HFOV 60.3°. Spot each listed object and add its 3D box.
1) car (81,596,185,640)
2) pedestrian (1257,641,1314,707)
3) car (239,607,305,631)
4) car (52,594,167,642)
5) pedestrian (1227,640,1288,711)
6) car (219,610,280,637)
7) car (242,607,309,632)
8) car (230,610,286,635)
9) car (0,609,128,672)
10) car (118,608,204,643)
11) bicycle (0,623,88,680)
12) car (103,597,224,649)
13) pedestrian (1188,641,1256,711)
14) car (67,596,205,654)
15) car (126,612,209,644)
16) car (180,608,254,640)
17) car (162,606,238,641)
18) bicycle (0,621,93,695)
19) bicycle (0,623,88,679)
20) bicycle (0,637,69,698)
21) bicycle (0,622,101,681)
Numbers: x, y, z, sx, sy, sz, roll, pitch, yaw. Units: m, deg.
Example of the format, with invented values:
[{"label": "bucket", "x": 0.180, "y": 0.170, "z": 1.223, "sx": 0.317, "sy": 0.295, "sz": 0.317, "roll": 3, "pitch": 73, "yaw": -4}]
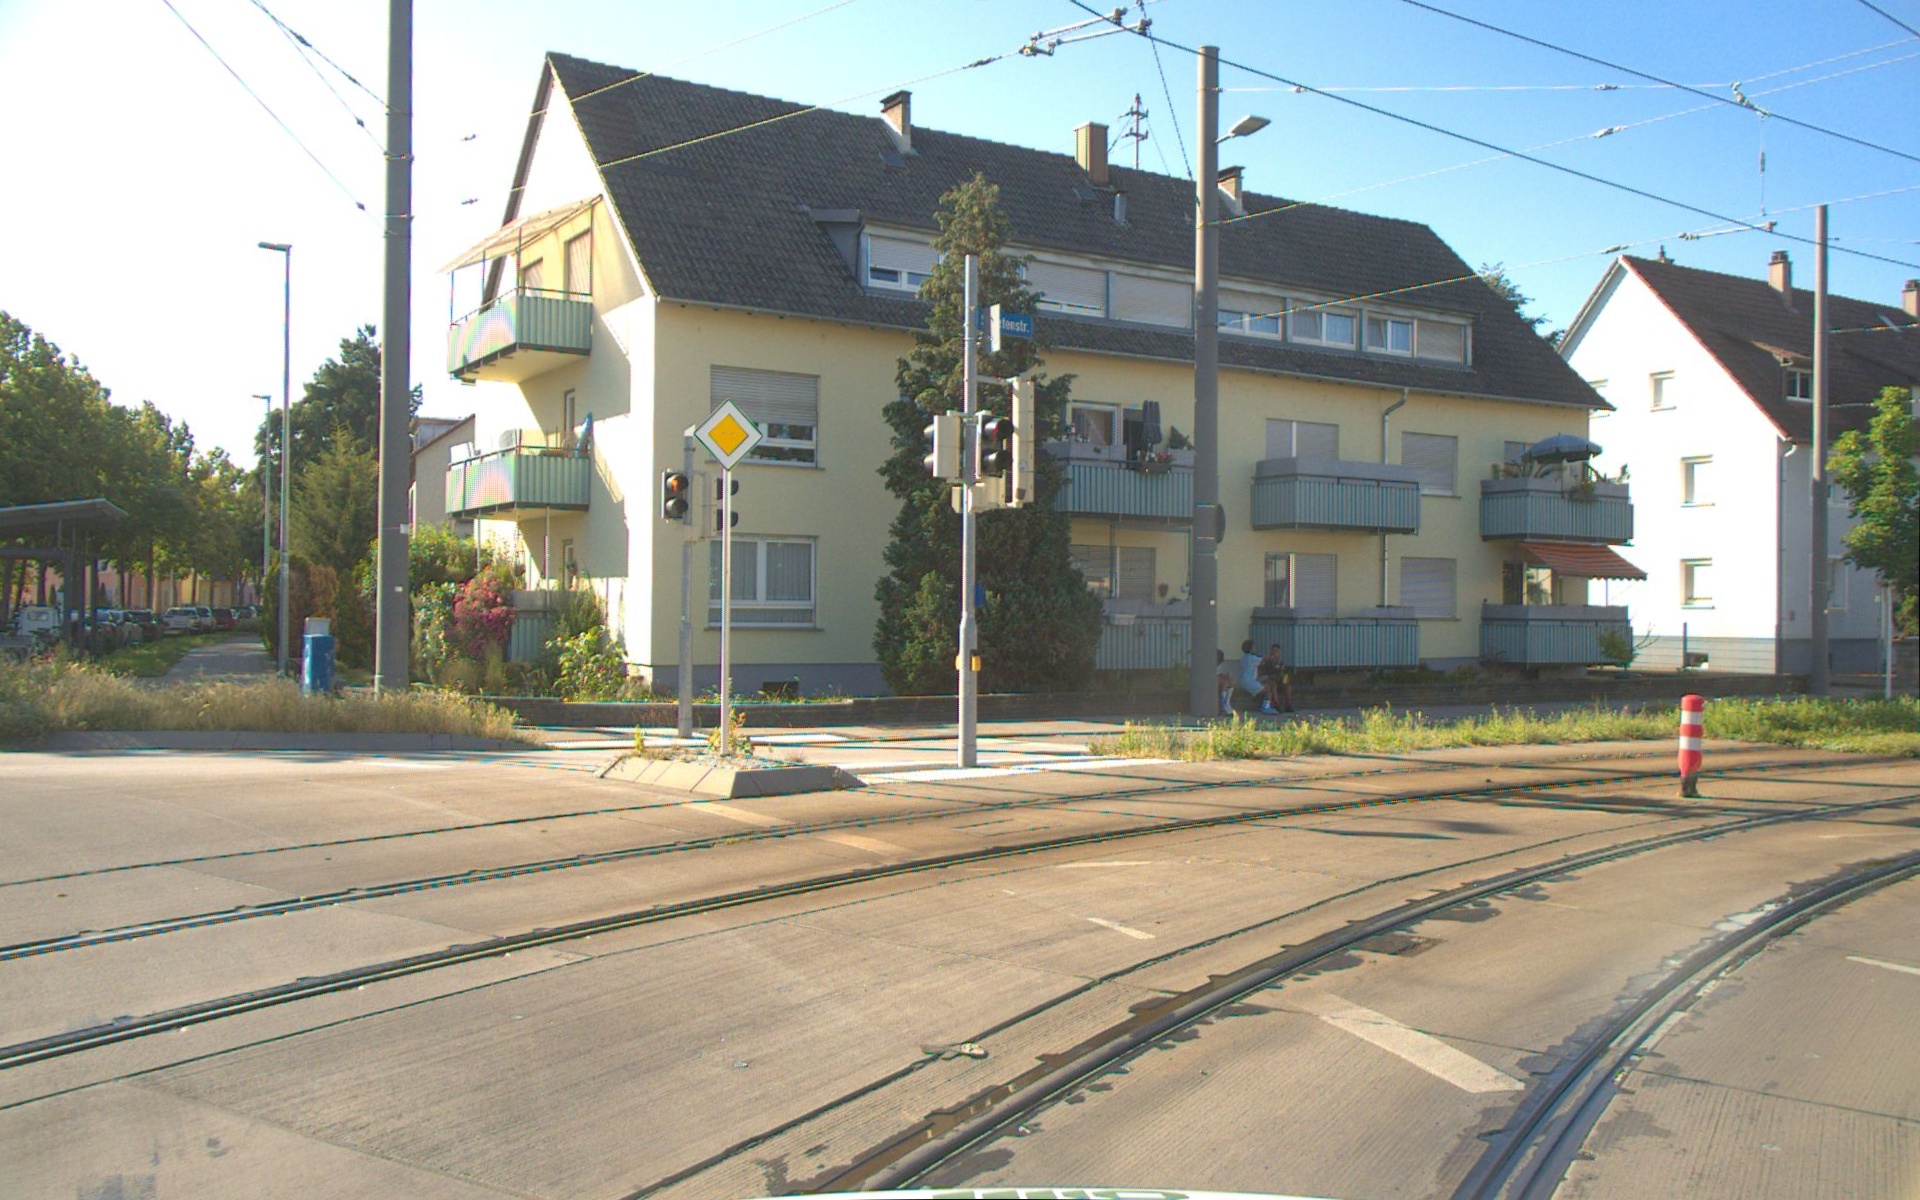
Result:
[{"label": "car", "x": -31.905, "y": 0.709, "z": 63.896, "sx": 3.470, "sy": 1.560, "sz": 1.565, "roll": 2, "pitch": -1, "yaw": -24}, {"label": "pedestrian", "x": 5.278, "y": 1.193, "z": 26.832, "sx": 0.709, "sy": 1.023, "sz": 0.593, "roll": 1, "pitch": -2, "yaw": 35}, {"label": "car", "x": -39.887, "y": 1.114, "z": 95.870, "sx": 3.472, "sy": 1.302, "sz": 1.565, "roll": 2, "pitch": -1, "yaw": -25}, {"label": "car", "x": -30.046, "y": 0.648, "z": 58.501, "sx": 3.470, "sy": 1.560, "sz": 1.444, "roll": 2, "pitch": -1, "yaw": -24}, {"label": "pedestrian", "x": 4.747, "y": 1.191, "z": 26.356, "sx": 0.801, "sy": 1.083, "sz": 0.626, "roll": 1, "pitch": -2, "yaw": 26}, {"label": "car", "x": -44.872, "y": 1.471, "z": 104.426, "sx": 3.472, "sy": 1.560, "sz": 1.565, "roll": 2, "pitch": -1, "yaw": -25}, {"label": "car", "x": -39.714, "y": 1.129, "z": 95.963, "sx": 3.472, "sy": 1.318, "sz": 1.565, "roll": 2, "pitch": -1, "yaw": -25}, {"label": "car", "x": -48.526, "y": 1.561, "z": 114.367, "sx": 3.472, "sy": 1.560, "sz": 1.565, "roll": 2, "pitch": -1, "yaw": -25}, {"label": "car", "x": -23.861, "y": 1.051, "z": 43.405, "sx": 3.470, "sy": 1.560, "sz": 1.565, "roll": 2, "pitch": -1, "yaw": -24}, {"label": "car", "x": -36.423, "y": 1.150, "z": 75.487, "sx": 3.362, "sy": 1.560, "sz": 1.515, "roll": 1, "pitch": 0, "yaw": -21}, {"label": "bicycle", "x": -17.782, "y": 0.984, "z": 31.594, "sx": 1.950, "sy": 1.045, "sz": 0.689, "roll": 2, "pitch": -2, "yaw": -29}, {"label": "car", "x": -26.069, "y": 0.766, "z": 54.253, "sx": 3.470, "sy": 1.560, "sz": 1.565, "roll": 2, "pitch": -1, "yaw": -24}, {"label": "pedestrian", "x": 4.087, "y": 1.176, "z": 25.810, "sx": 0.679, "sy": 1.065, "sz": 0.810, "roll": 2, "pitch": -1, "yaw": -34}, {"label": "car", "x": -24.175, "y": 0.742, "z": 48.649, "sx": 3.470, "sy": 1.560, "sz": 1.565, "roll": 2, "pitch": -1, "yaw": -24}, {"label": "car", "x": -37.465, "y": 1.331, "z": 78.263, "sx": 3.391, "sy": 1.419, "sz": 1.230, "roll": 2, "pitch": -1, "yaw": -21}, {"label": "car", "x": -38.690, "y": 1.260, "z": 86.111, "sx": 3.434, "sy": 1.519, "sz": 1.540, "roll": 2, "pitch": -1, "yaw": -25}, {"label": "car", "x": -37.399, "y": 1.159, "z": 81.449, "sx": 3.316, "sy": 1.560, "sz": 1.511, "roll": 2, "pitch": -1, "yaw": -25}, {"label": "bicycle", "x": -15.869, "y": 0.996, "z": 28.457, "sx": 1.647, "sy": 1.229, "sz": 0.682, "roll": 2, "pitch": -2, "yaw": -28}, {"label": "bicycle", "x": -18.228, "y": 0.990, "z": 32.424, "sx": 1.950, "sy": 1.045, "sz": 0.682, "roll": 2, "pitch": -2, "yaw": -29}, {"label": "bicycle", "x": -16.810, "y": 1.200, "z": 29.399, "sx": 1.671, "sy": 1.045, "sz": 0.594, "roll": 2, "pitch": -2, "yaw": -29}, {"label": "bicycle", "x": -17.112, "y": 0.965, "z": 30.935, "sx": 1.820, "sy": 1.045, "sz": 0.682, "roll": 2, "pitch": -2, "yaw": -28}]
